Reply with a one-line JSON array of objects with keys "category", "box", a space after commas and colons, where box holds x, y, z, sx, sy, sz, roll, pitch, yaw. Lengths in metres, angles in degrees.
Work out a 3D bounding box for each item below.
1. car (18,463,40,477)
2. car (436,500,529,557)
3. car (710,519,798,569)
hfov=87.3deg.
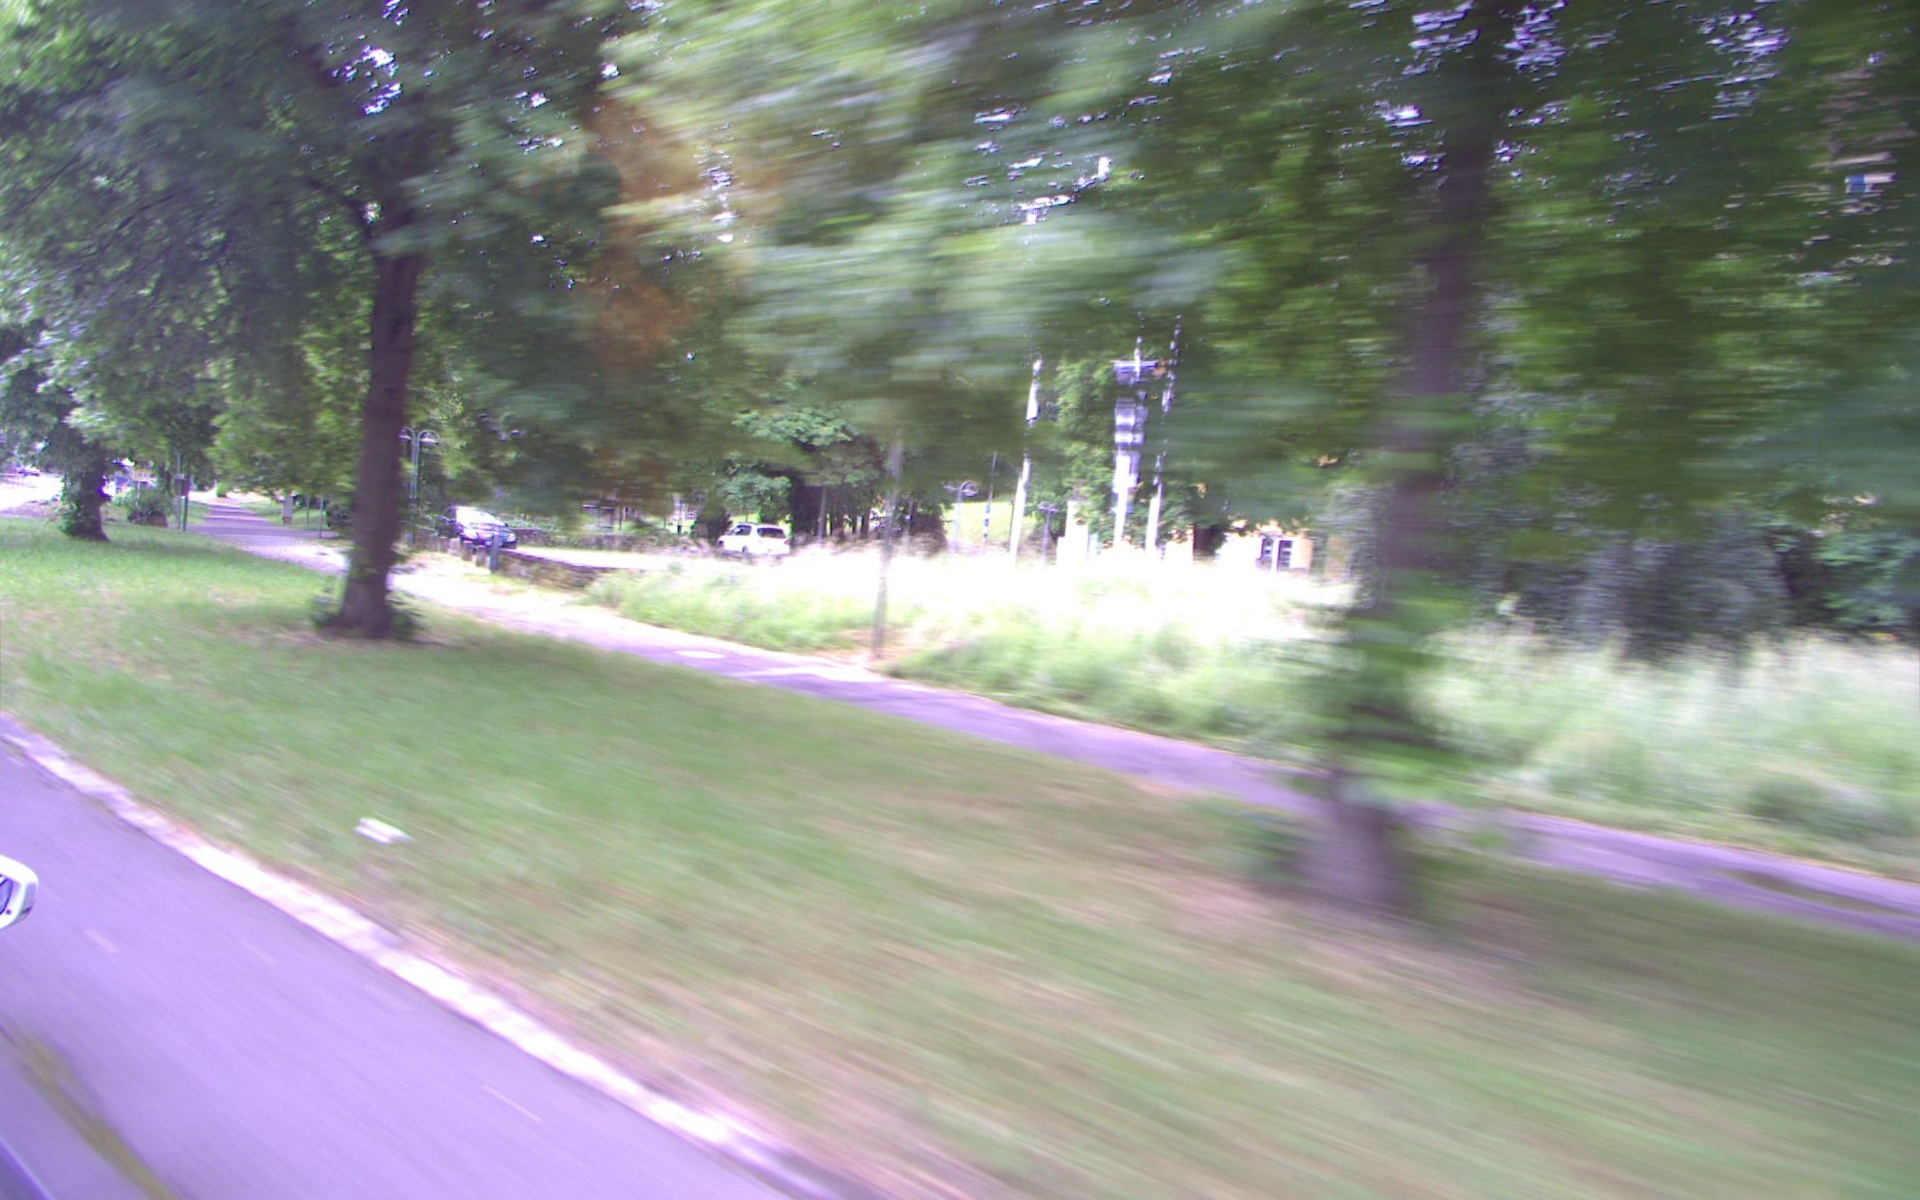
[{"category": "car", "box": [-122.740, -17.097, 132.646, 1.693, 1.533, 3.959, 2, 4, -36]}, {"category": "car", "box": [-16.036, -2.422, 33.671, 1.894, 1.452, 4.416, 2, 6, -37]}, {"category": "car", "box": [-8.588, -2.349, 41.706, 1.979, 1.676, 3.955, 0, 8, -37]}]
